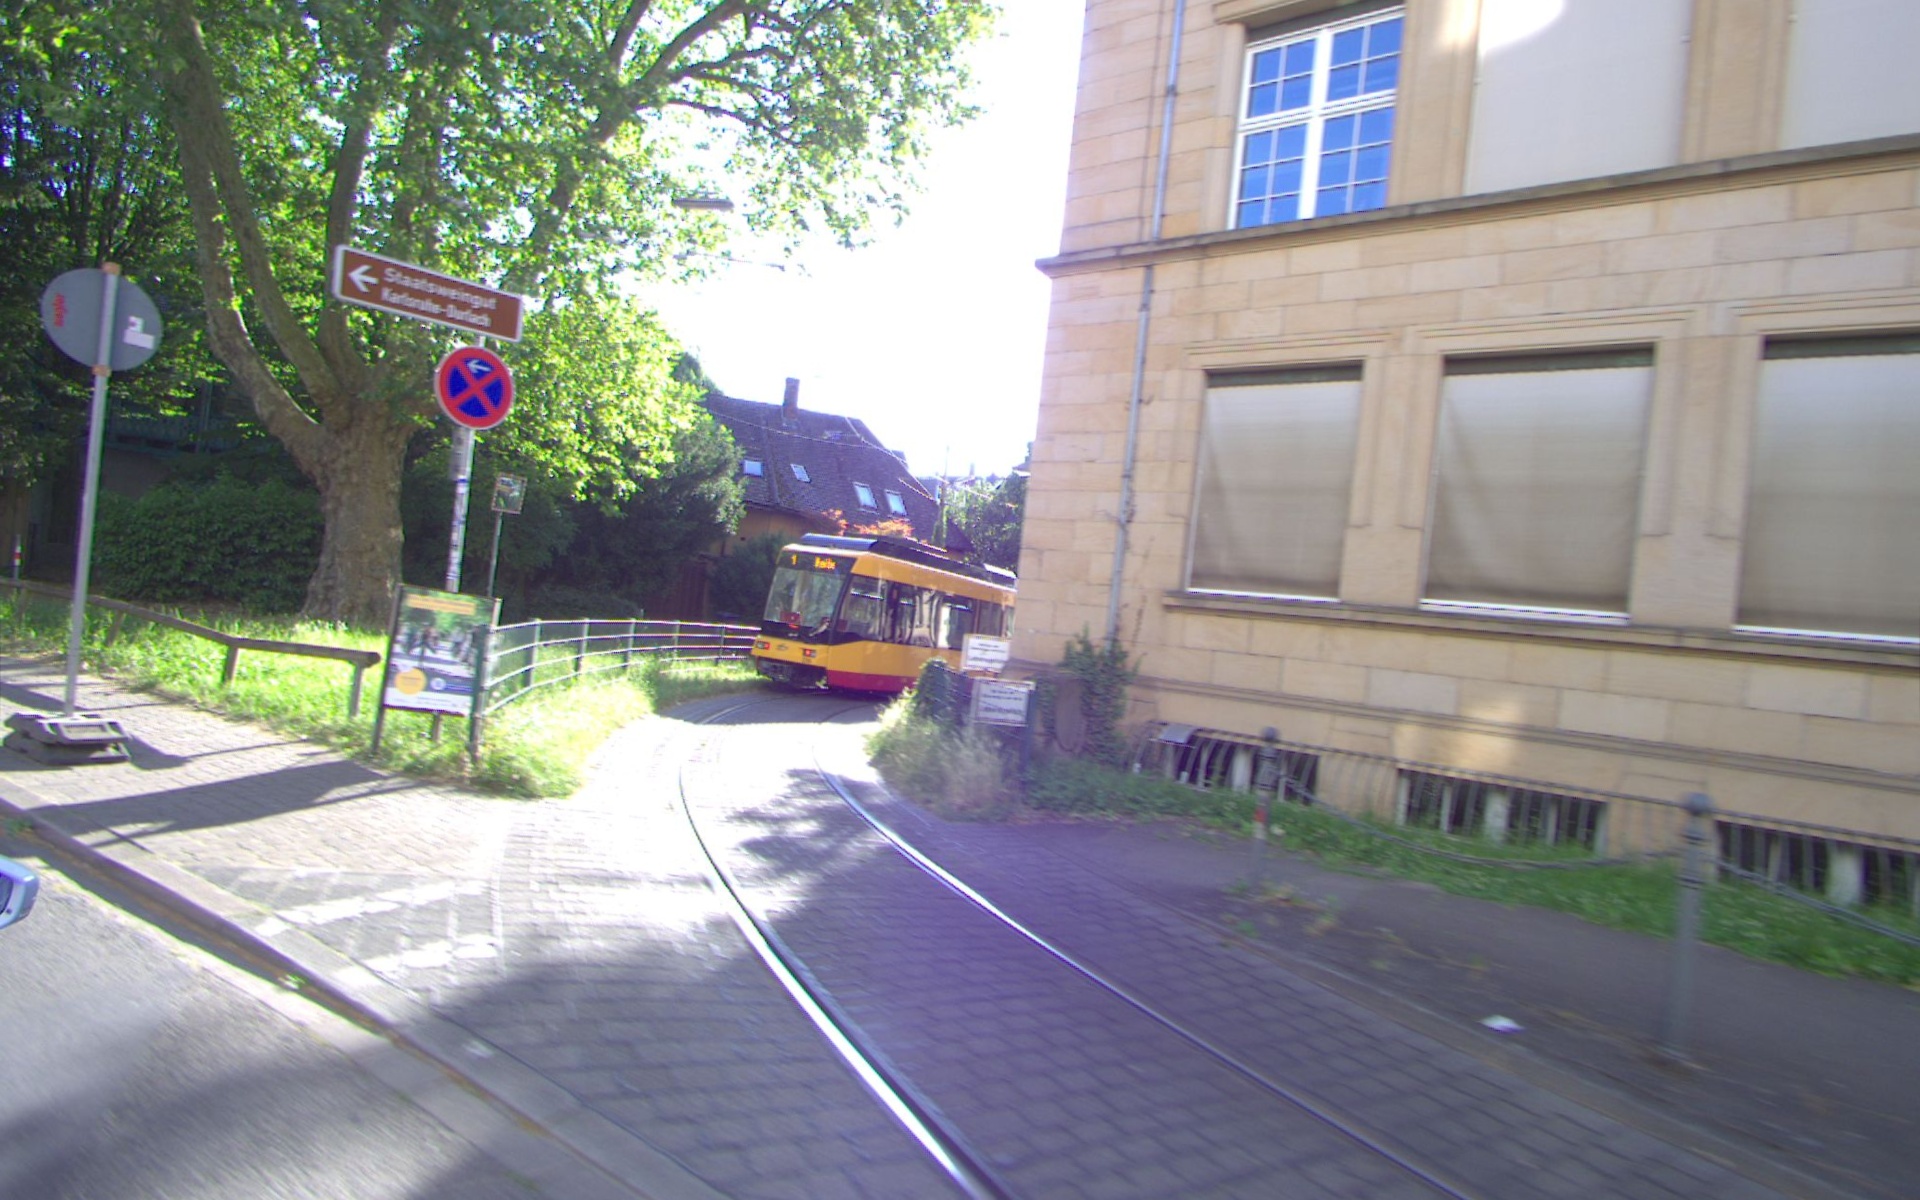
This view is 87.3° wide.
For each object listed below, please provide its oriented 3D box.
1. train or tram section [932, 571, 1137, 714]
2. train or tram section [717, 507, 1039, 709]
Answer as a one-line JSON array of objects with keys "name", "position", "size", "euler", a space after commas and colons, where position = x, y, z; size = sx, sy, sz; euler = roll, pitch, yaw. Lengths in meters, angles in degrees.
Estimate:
[{"name": "train or tram section", "position": [2.700, 1.591, 31.687], "size": [2.749, 3.558, 9.269], "euler": [6, -3, 27]}, {"name": "train or tram section", "position": [-1.349, 0.540, 23.575], "size": [2.749, 3.558, 9.269], "euler": [6, -3, 27]}]
